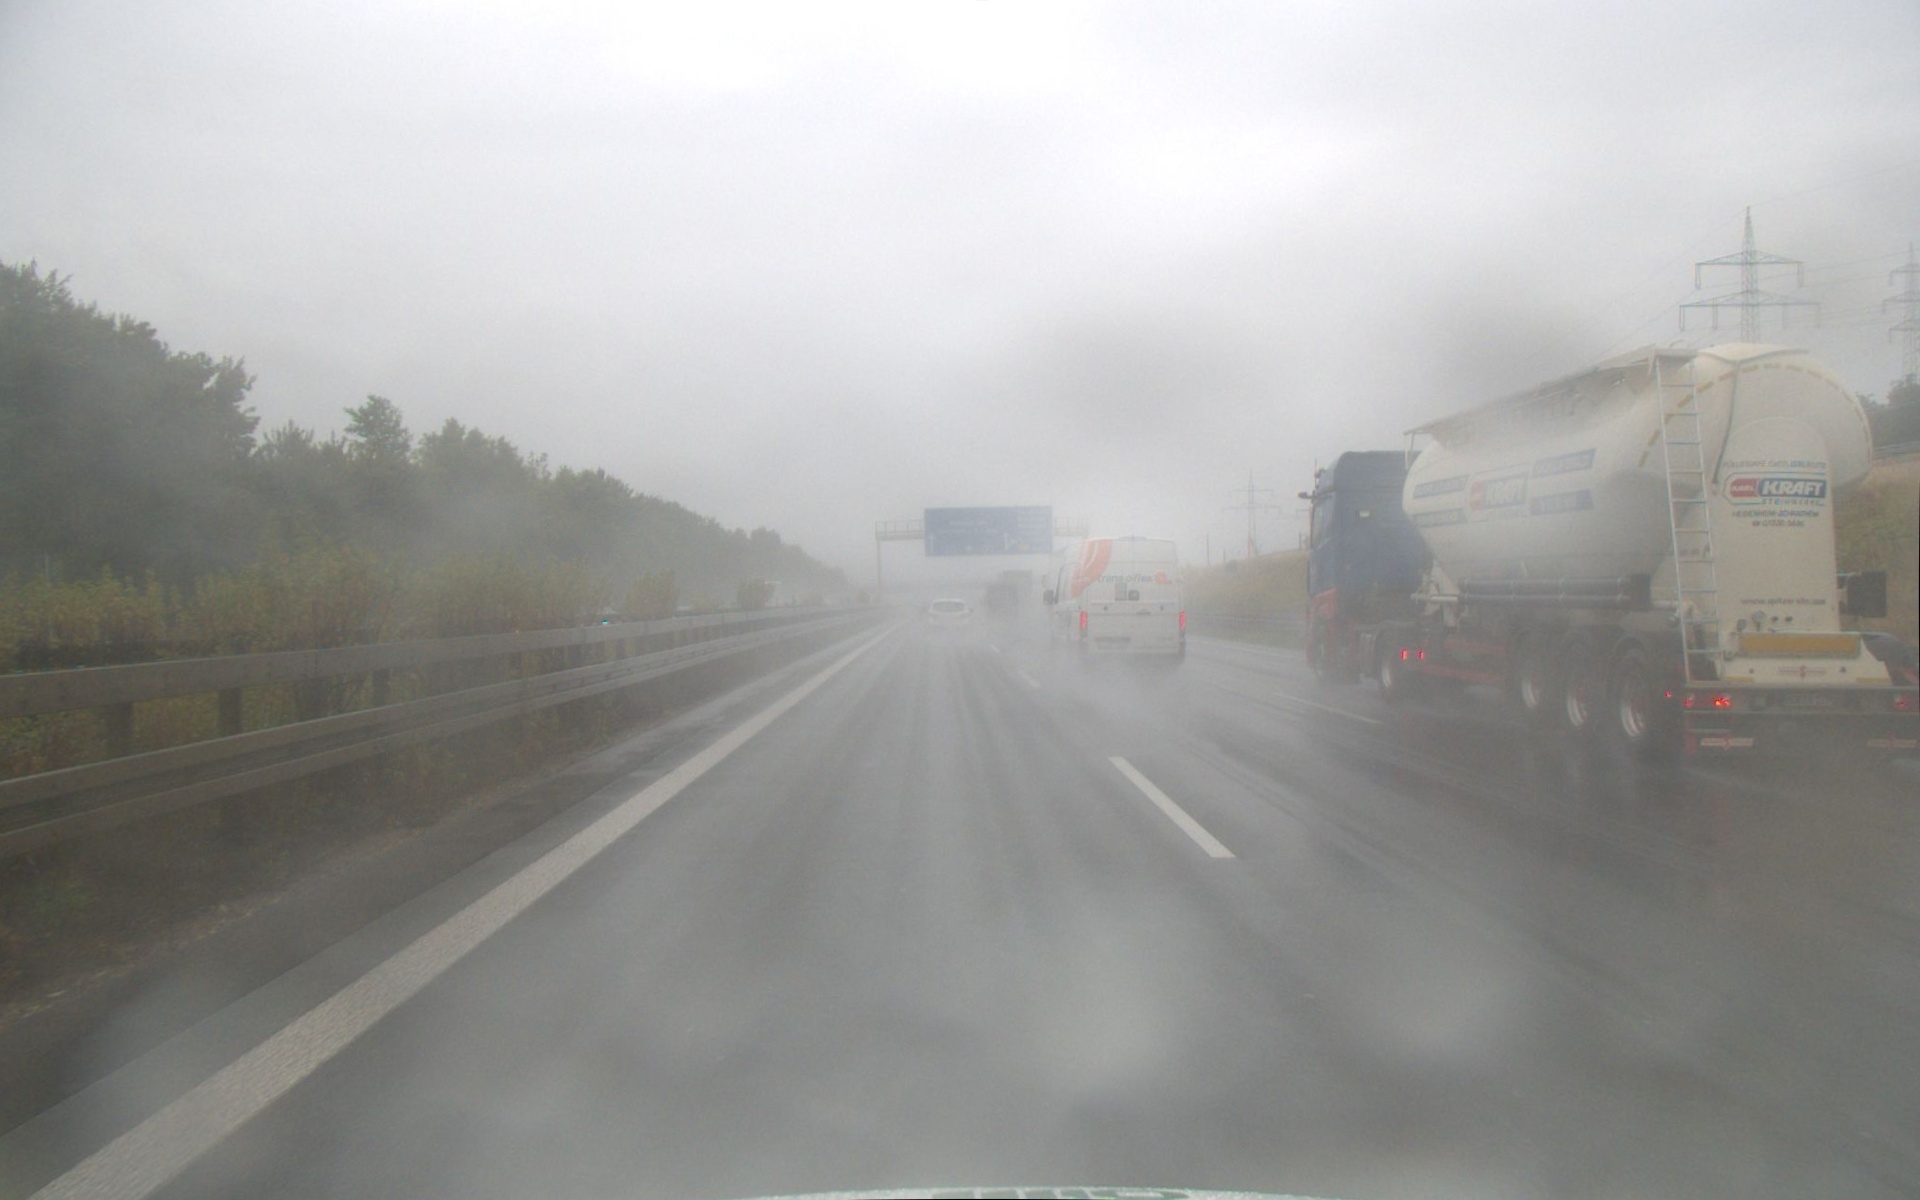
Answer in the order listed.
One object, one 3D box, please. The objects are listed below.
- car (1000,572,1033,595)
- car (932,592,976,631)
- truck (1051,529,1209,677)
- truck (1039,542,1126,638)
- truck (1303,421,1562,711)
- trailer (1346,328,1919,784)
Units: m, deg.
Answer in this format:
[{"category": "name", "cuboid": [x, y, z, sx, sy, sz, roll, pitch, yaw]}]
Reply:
[{"category": "car", "cuboid": [5.044, -1.488, 148.867, 2.731, 2.049, 4.992, 1, 1, -1]}, {"category": "car", "cuboid": [-0.249, 0.395, 61.864, 1.573, 1.361, 3.847, 1, 1, -1]}, {"category": "truck", "cuboid": [3.095, 0.015, 31.403, 2.370, 2.536, 5.559, 1, 1, 0]}, {"category": "truck", "cuboid": [6.387, -0.447, 89.326, 2.978, 4.668, 16.344, 1, 0, -2]}, {"category": "truck", "cuboid": [7.170, -0.504, 25.795, 2.446, 4.053, 5.074, 1, 1, -2]}, {"category": "trailer", "cuboid": [7.329, -0.438, 19.965, 2.447, 3.950, 11.063, 1, 1, -2]}]
